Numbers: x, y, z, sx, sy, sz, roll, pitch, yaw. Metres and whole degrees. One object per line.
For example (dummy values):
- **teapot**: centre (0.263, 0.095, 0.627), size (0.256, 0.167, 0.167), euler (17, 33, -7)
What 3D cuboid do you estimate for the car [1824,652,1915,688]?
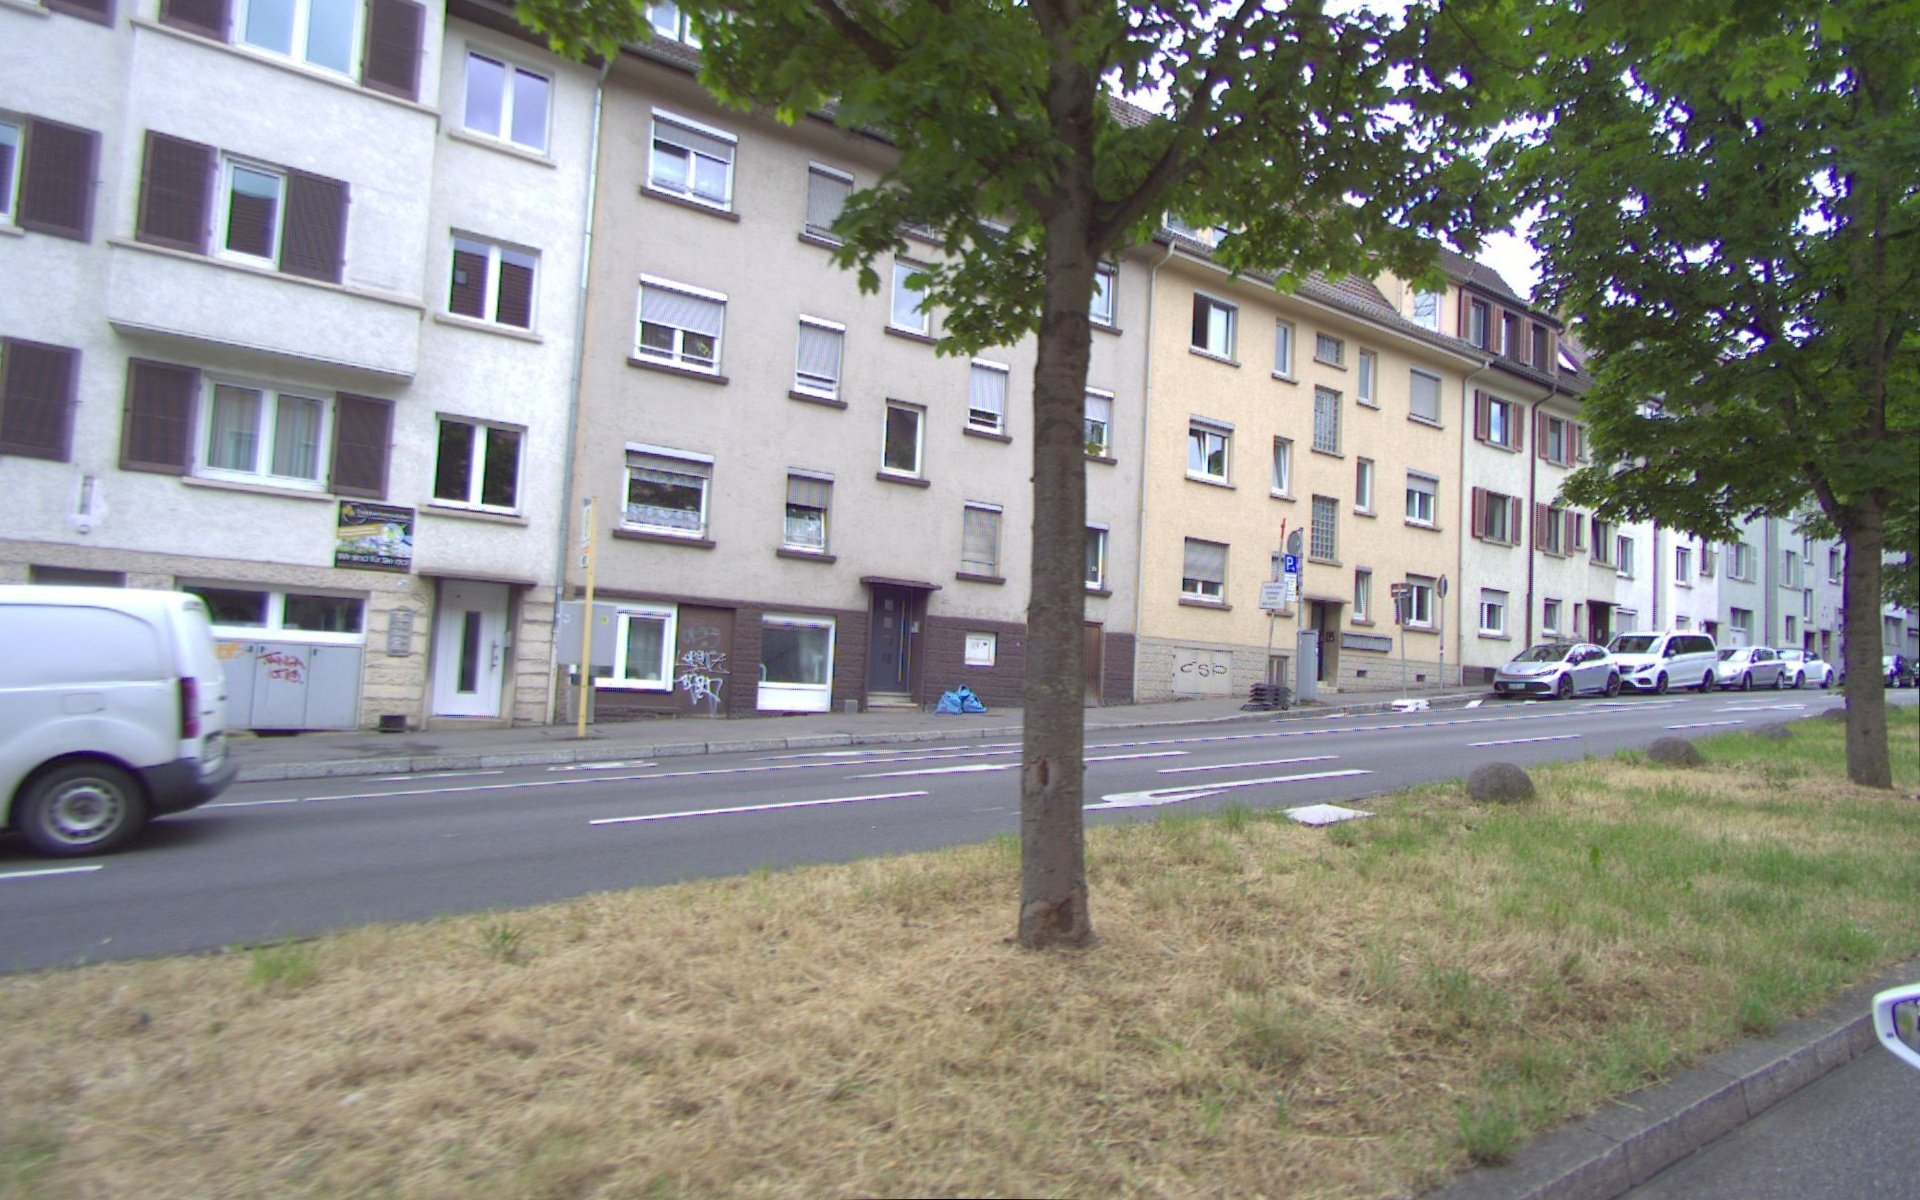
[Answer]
- **car**: centre (38.279, 2.911, 42.255), size (4.171, 1.441, 1.981), euler (3, -3, -36)

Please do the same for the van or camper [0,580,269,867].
- **van or camper**: centre (-7.390, 0.775, 6.535), size (4.602, 1.784, 1.898), euler (2, -3, -32)

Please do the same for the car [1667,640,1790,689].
- **car**: centre (26.289, 2.185, 34.345), size (4.335, 1.572, 1.983), euler (2, -3, -33)

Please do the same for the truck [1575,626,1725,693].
- **truck**: centre (21.666, 1.863, 31.493), size (5.290, 1.945, 1.983), euler (2, -3, -33)

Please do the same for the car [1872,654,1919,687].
- **car**: centre (42.797, 3.145, 44.805), size (4.467, 1.418, 1.984), euler (3, -4, -32)

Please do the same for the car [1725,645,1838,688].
- **car**: centre (30.390, 2.436, 37.157), size (4.111, 1.493, 1.984), euler (2, -3, -32)

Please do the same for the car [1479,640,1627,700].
- **car**: centre (16.776, 1.954, 28.384), size (4.113, 1.572, 1.983), euler (2, -3, -33)
